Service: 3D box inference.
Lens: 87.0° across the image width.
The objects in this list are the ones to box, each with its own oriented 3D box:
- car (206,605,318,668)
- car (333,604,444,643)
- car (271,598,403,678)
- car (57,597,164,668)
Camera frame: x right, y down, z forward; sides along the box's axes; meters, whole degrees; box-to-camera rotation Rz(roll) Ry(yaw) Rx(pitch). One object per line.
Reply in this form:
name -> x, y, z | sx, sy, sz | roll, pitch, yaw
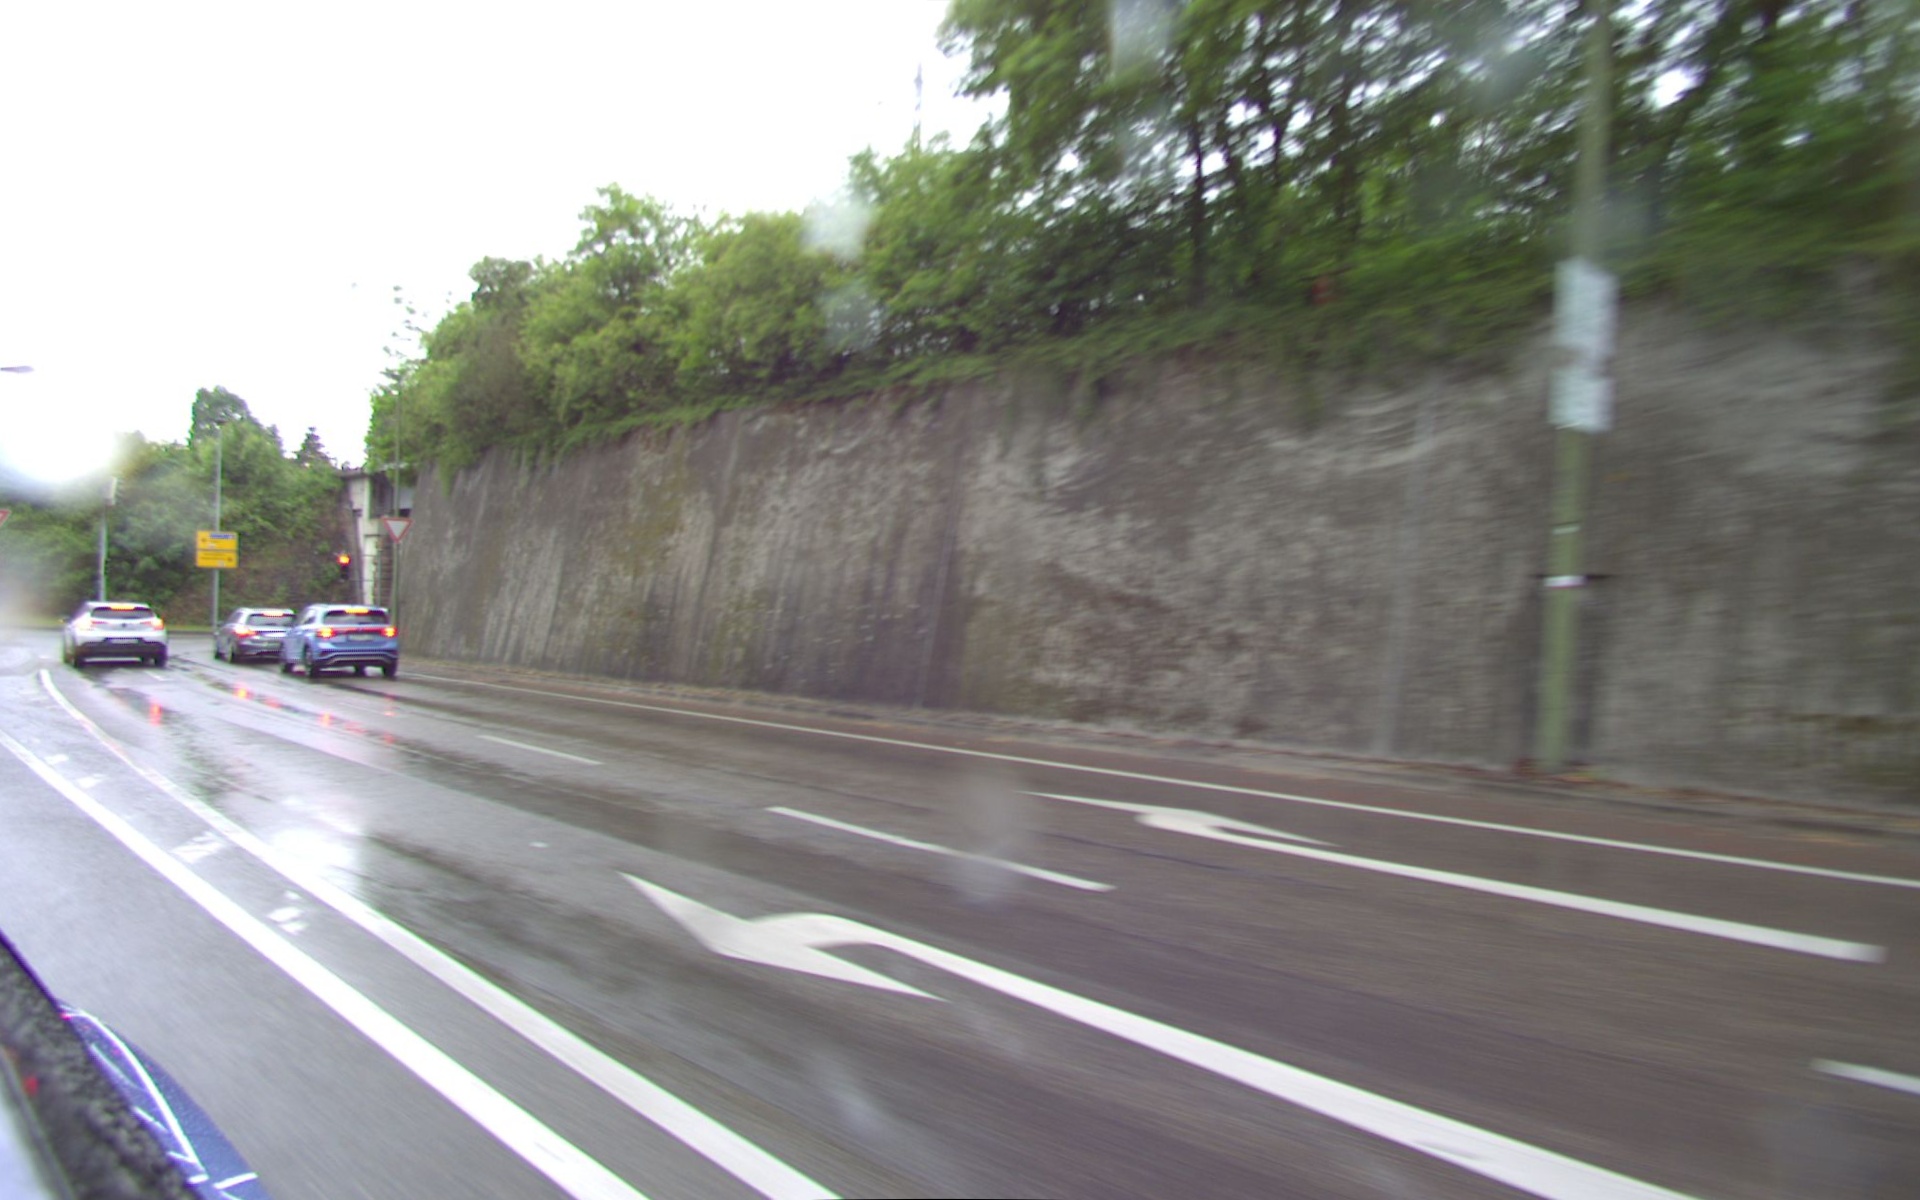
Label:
car -> -19.517, 0.984, 28.196 | 1.969, 1.514, 4.736 | 5, -3, -41
car -> -25.462, 1.064, 45.147 | 4.086, 1.519, 1.686 | 5, -3, -36
car -> -14.290, 0.800, 23.130 | 1.793, 1.670, 4.054 | 1, -1, -43
car -> -21.223, 0.762, 25.227 | 1.846, 1.613, 4.004 | 1, -1, -43
